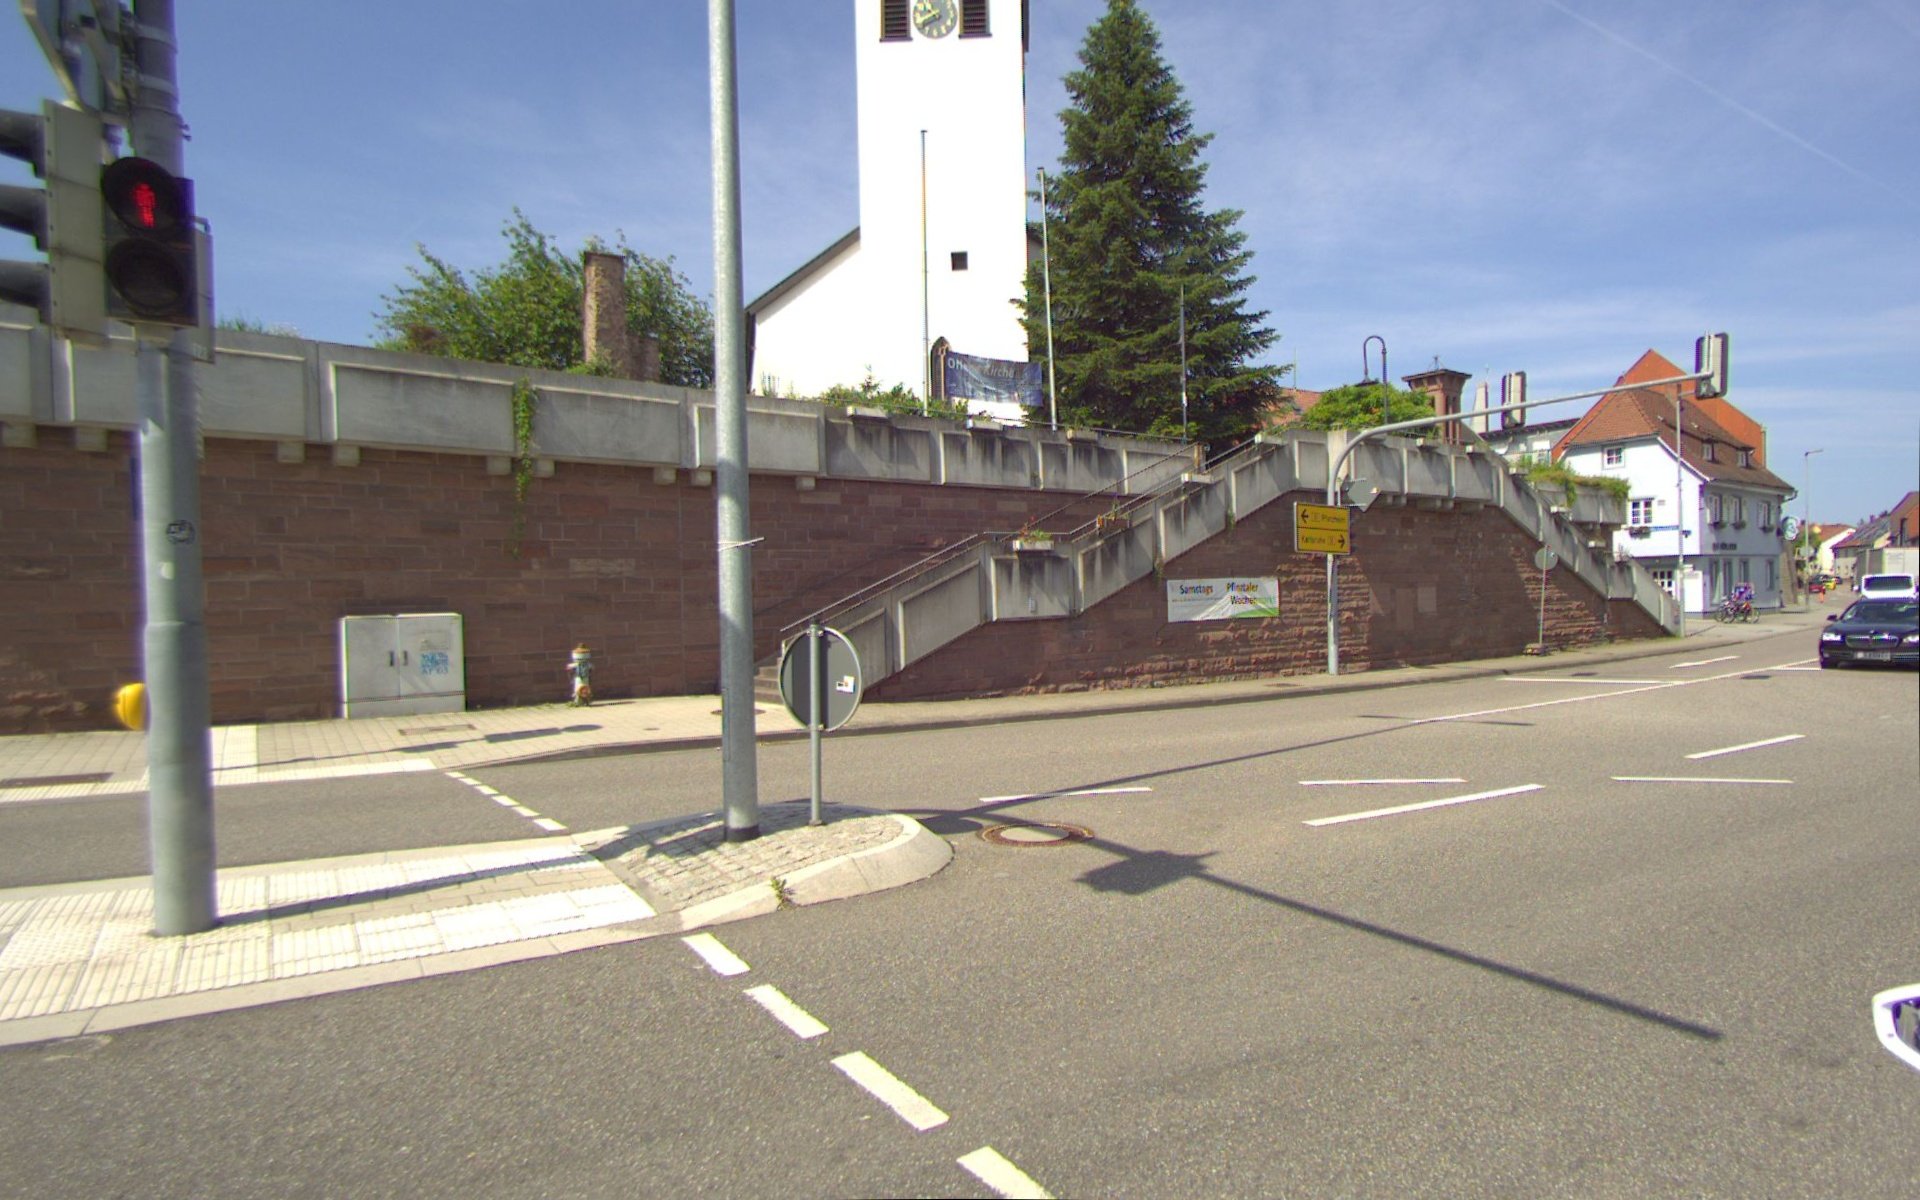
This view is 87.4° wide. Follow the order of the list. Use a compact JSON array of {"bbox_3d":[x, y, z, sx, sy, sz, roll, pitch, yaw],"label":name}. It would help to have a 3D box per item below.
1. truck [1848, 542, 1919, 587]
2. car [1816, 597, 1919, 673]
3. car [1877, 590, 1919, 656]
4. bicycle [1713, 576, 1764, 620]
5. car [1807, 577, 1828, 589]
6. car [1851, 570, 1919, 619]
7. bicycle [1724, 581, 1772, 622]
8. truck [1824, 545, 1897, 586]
[{"bbox_3d":[78.697,-2.960,85.448,3.178,3.597,9.204,2,2,33],"label":"truck"},{"bbox_3d":[20.065,0.692,21.570,4.210,1.454,1.806,-1,1,-38],"label":"car"},{"bbox_3d":[25.610,0.548,25.843,4.901,1.535,2.143,-1,1,-37],"label":"car"},{"bbox_3d":[32.589,-0.100,42.040,2.637,1.803,0.638,0,2,-29],"label":"bicycle"},{"bbox_3d":[94.589,-1.891,110.824,1.230,1.279,2.827,2,2,31],"label":"car"},{"bbox_3d":[40.572,-0.228,44.108,2.113,1.993,5.249,-1,0,42],"label":"car"},{"bbox_3d":[32.011,0.056,40.798,2.531,1.629,0.555,0,2,-29],"label":"bicycle"},{"bbox_3d":[84.008,-3.133,93.910,3.114,3.507,10.685,2,2,32],"label":"truck"}]
